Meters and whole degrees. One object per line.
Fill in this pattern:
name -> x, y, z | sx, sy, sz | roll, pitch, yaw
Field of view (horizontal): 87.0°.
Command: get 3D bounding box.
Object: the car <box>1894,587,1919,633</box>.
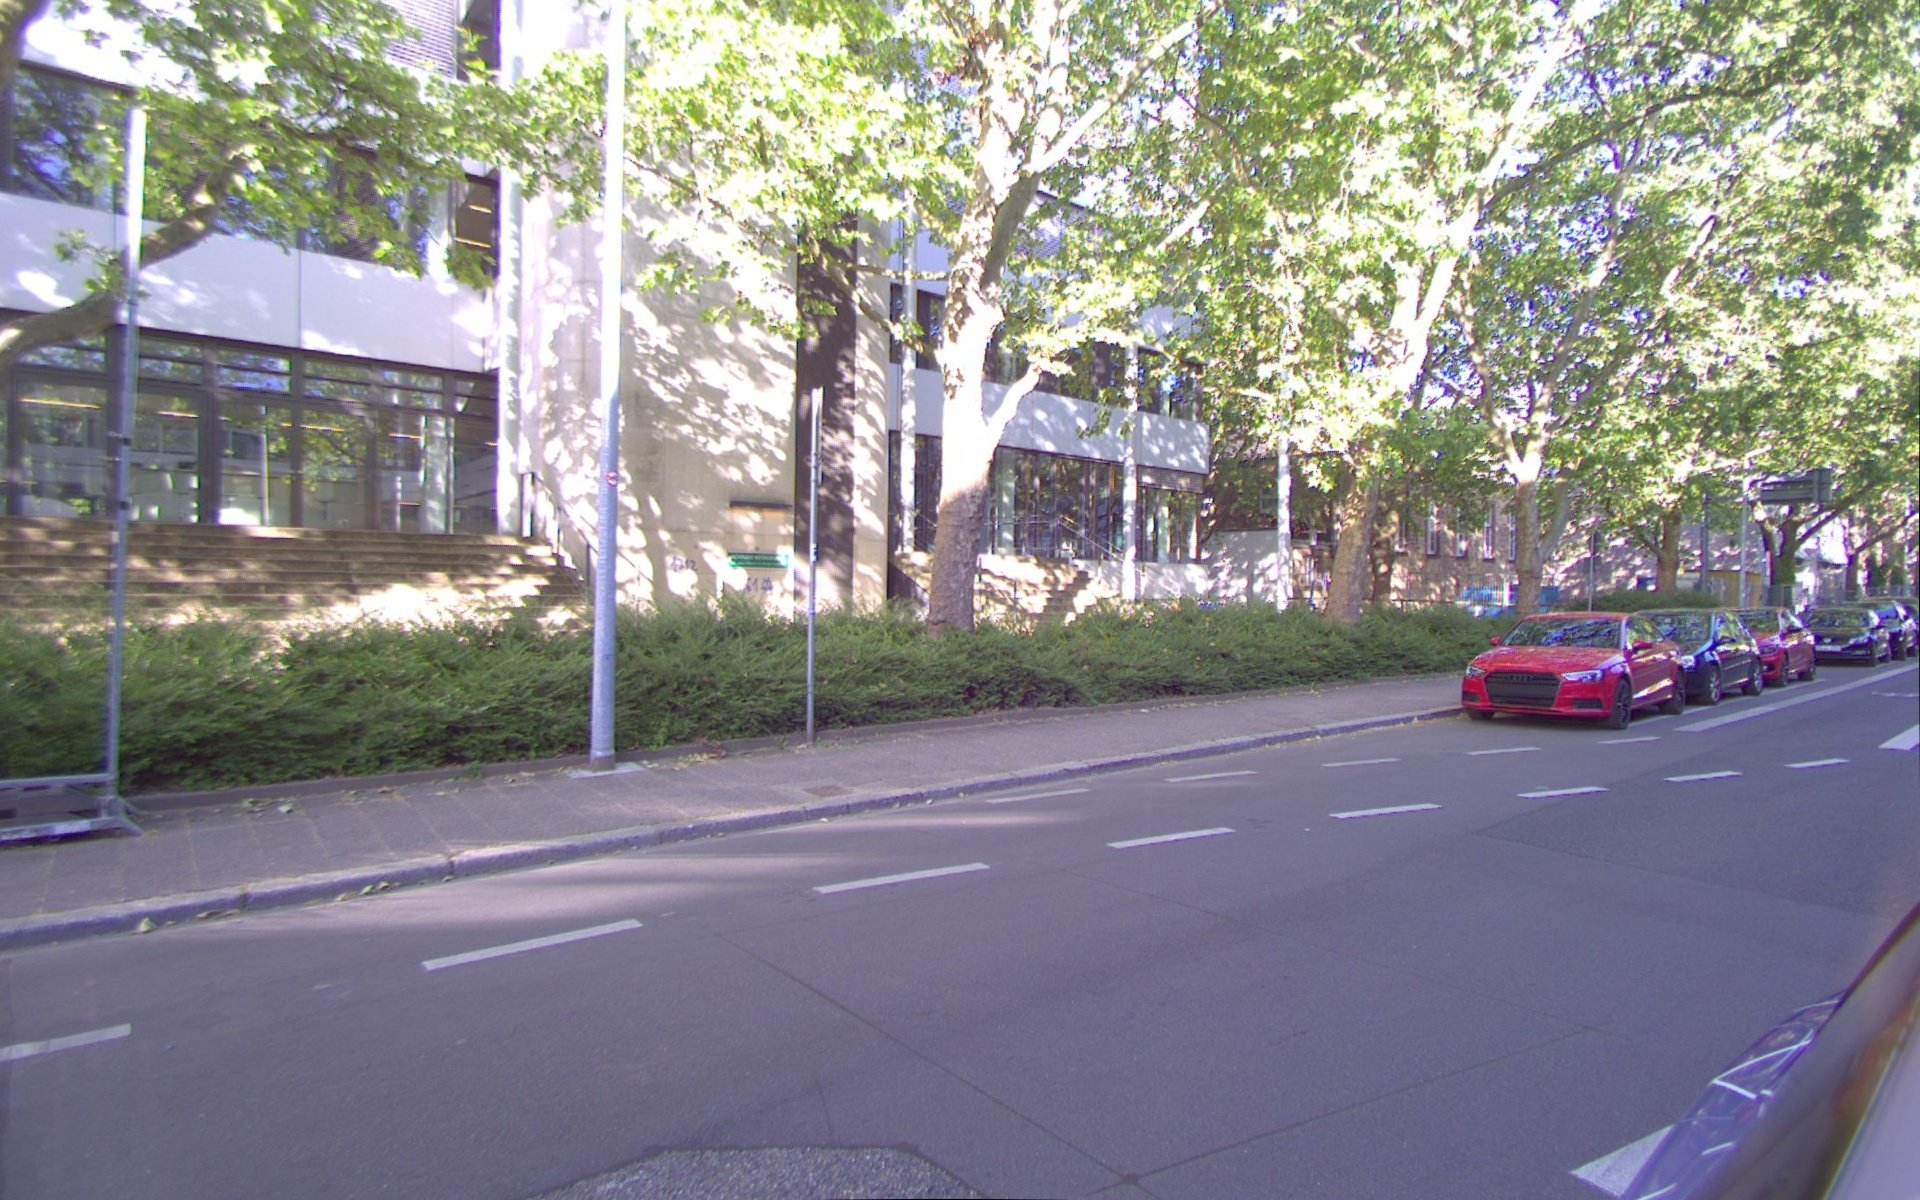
car -> 35.726, 0.366, 37.074 | 4.004, 1.638, 1.797 | 0, 1, -41

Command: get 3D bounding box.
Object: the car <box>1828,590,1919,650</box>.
car -> 26.633, 0.528, 29.191 | 4.158, 1.601, 1.847 | 0, 1, -41

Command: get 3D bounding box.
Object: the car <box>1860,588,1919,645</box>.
car -> 31.068, 0.486, 33.052 | 4.188, 1.747, 1.997 | -1, 0, -41

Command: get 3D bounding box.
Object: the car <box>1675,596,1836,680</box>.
car -> 15.756, 0.672, 19.986 | 3.930, 1.456, 1.789 | 0, 1, -41

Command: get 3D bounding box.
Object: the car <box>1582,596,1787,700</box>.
car -> 11.944, 0.693, 16.605 | 3.929, 1.475, 1.812 | 0, 1, -40

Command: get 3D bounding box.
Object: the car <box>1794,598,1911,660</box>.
car -> 22.969, 0.685, 25.994 | 3.930, 1.456, 1.744 | 0, 1, -41

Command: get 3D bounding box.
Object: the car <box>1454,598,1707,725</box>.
car -> 8.353, 0.699, 13.480 | 4.101, 1.443, 1.773 | 0, -1, -42
